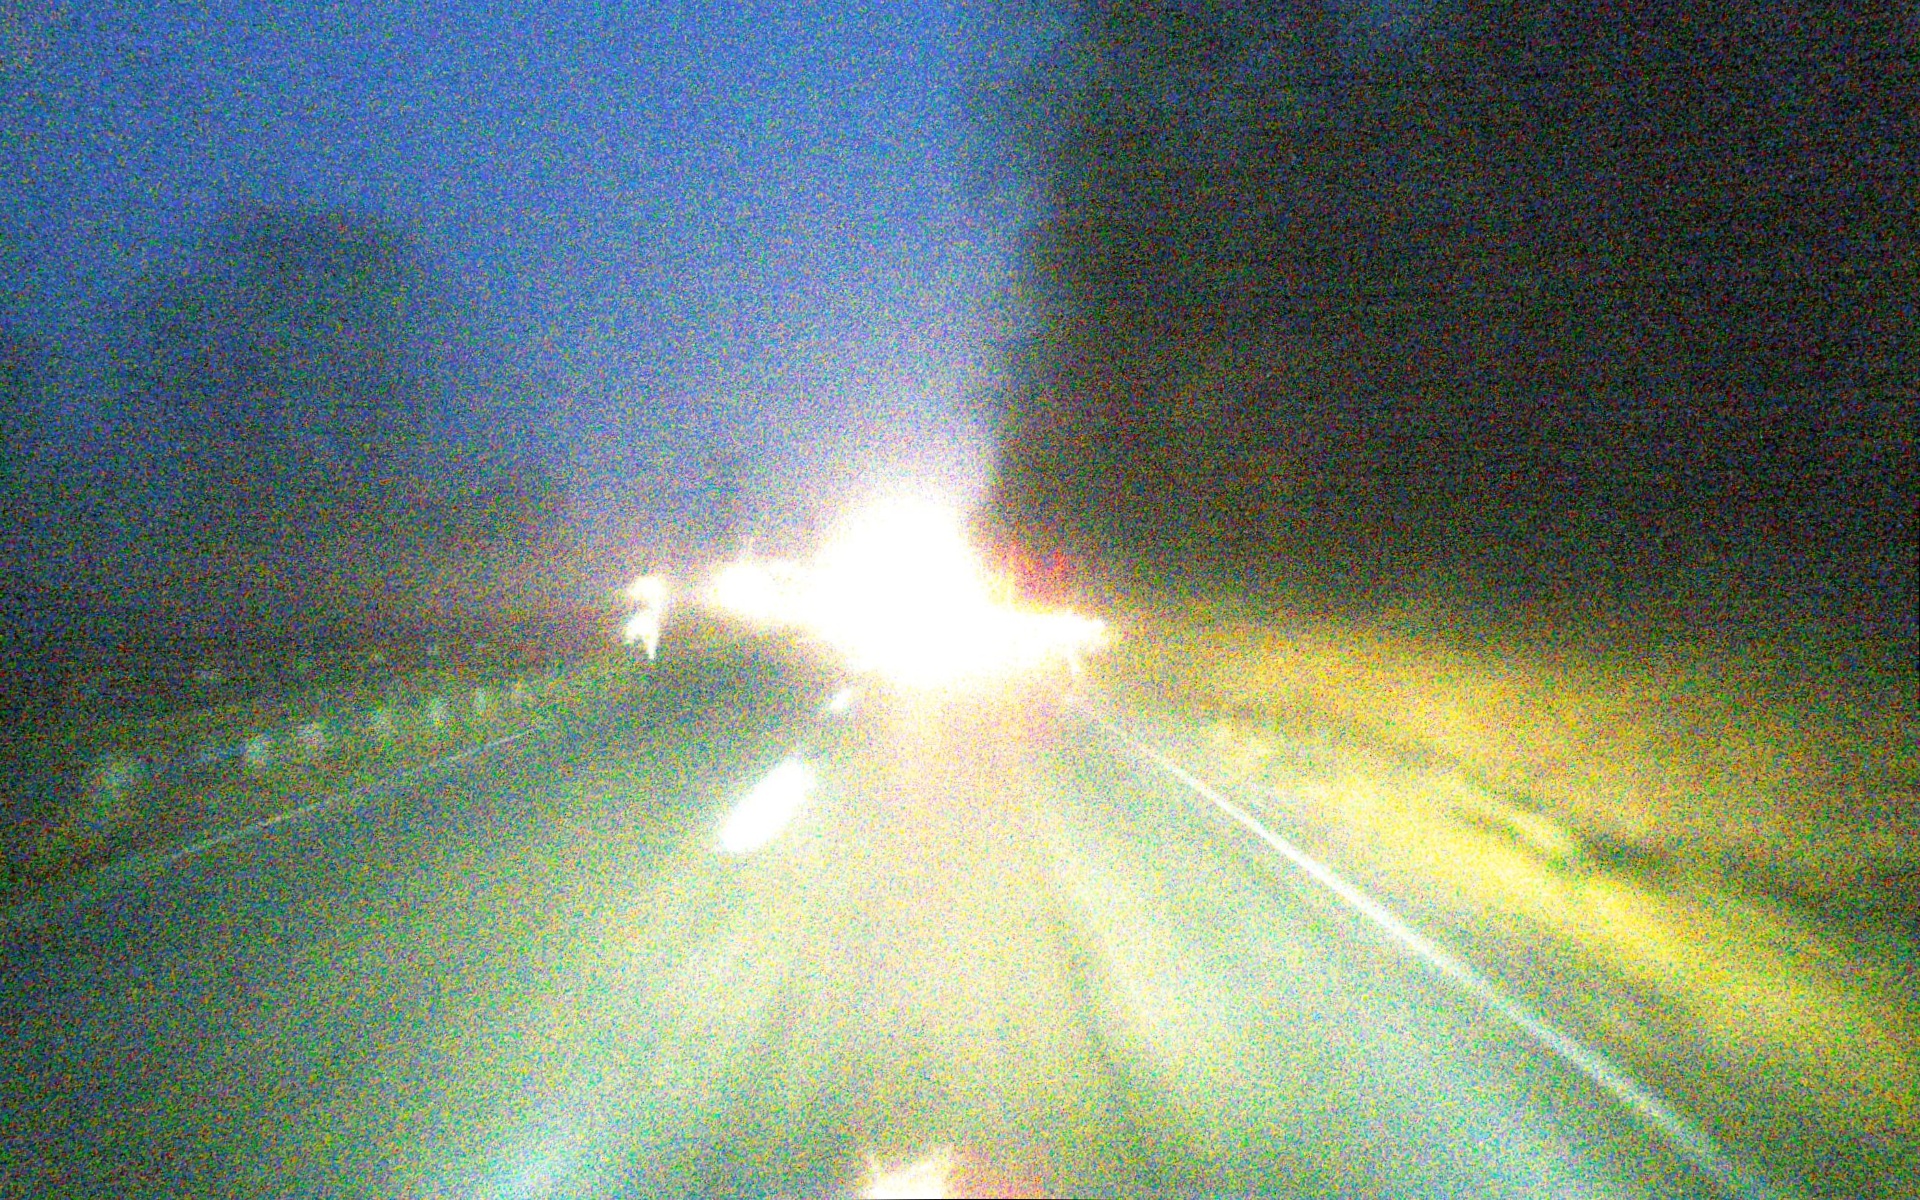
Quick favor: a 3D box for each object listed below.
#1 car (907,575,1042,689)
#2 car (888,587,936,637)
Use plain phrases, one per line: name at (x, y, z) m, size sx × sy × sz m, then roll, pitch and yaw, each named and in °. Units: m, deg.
car at (0.269, 0.651, 32.729) m, size 2.407 × 1.993 × 4.911 m, roll -2°, pitch -1°, yaw 0°
car at (-2.056, 0.494, 70.241) m, size 1.953 × 2.049 × 3.998 m, roll 0°, pitch 0°, yaw -2°
